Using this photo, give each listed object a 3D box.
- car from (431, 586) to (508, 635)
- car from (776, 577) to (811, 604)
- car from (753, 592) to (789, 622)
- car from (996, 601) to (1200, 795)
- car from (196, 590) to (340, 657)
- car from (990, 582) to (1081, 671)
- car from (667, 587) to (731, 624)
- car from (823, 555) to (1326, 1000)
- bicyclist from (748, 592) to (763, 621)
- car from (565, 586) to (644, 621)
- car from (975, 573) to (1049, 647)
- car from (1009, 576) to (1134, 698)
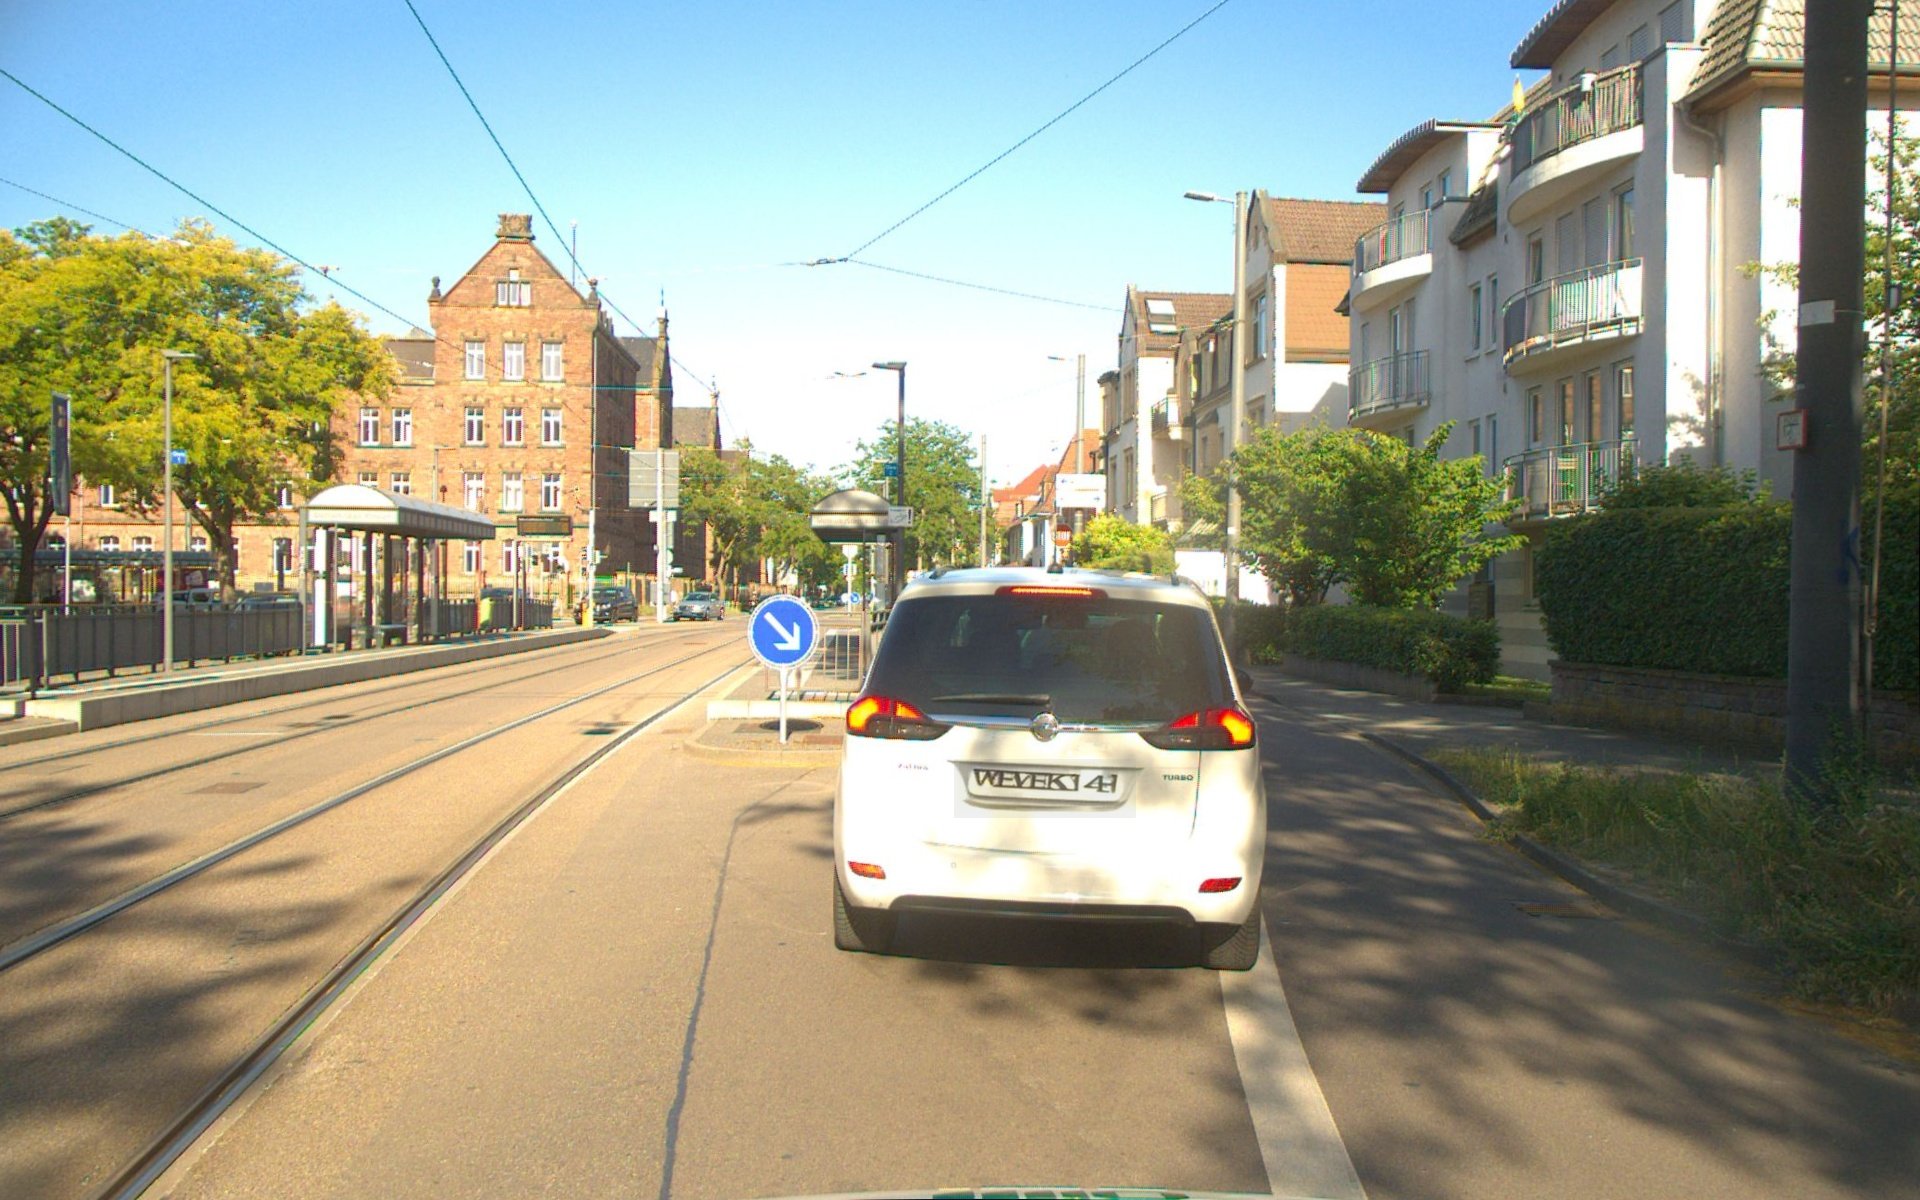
[{"bbox_3d":[-17.246,0.381,58.337,1.791,1.645,4.322,1,-1,-5],"label":"car"},{"bbox_3d":[-13.063,-0.698,130.293,1.951,2.049,4.002,1,0,6],"label":"car"},{"bbox_3d":[-13.176,0.480,115.494,1.952,2.049,4.000,1,0,1],"label":"car"},{"bbox_3d":[1.230,0.763,14.790,1.536,1.426,3.786,2,0,5],"label":"car"},{"bbox_3d":[-15.570,0.488,37.461,1.763,1.406,4.490,0,1,-6],"label":"car"},{"bbox_3d":[1.496,0.502,33.940,1.563,1.663,3.900,2,0,-1],"label":"car"},{"bbox_3d":[-13.403,0.295,85.248,1.788,1.819,4.331,0,-1,12],"label":"car"},{"bbox_3d":[0.574,0.634,8.083,1.838,1.613,4.002,0,0,5],"label":"car"},{"bbox_3d":[-12.271,0.388,99.035,0.710,1.717,1.170,0,1,2],"label":"bicyclist"},{"bbox_3d":[-15.646,0.171,73.037,1.788,1.471,4.331,0,-1,12],"label":"car"},{"bbox_3d":[1.232,0.194,40.499,1.563,1.663,3.901,2,1,-1],"label":"car"},{"bbox_3d":[1.611,0.504,24.948,1.537,1.643,3.783,2,0,-1],"label":"car"}]
